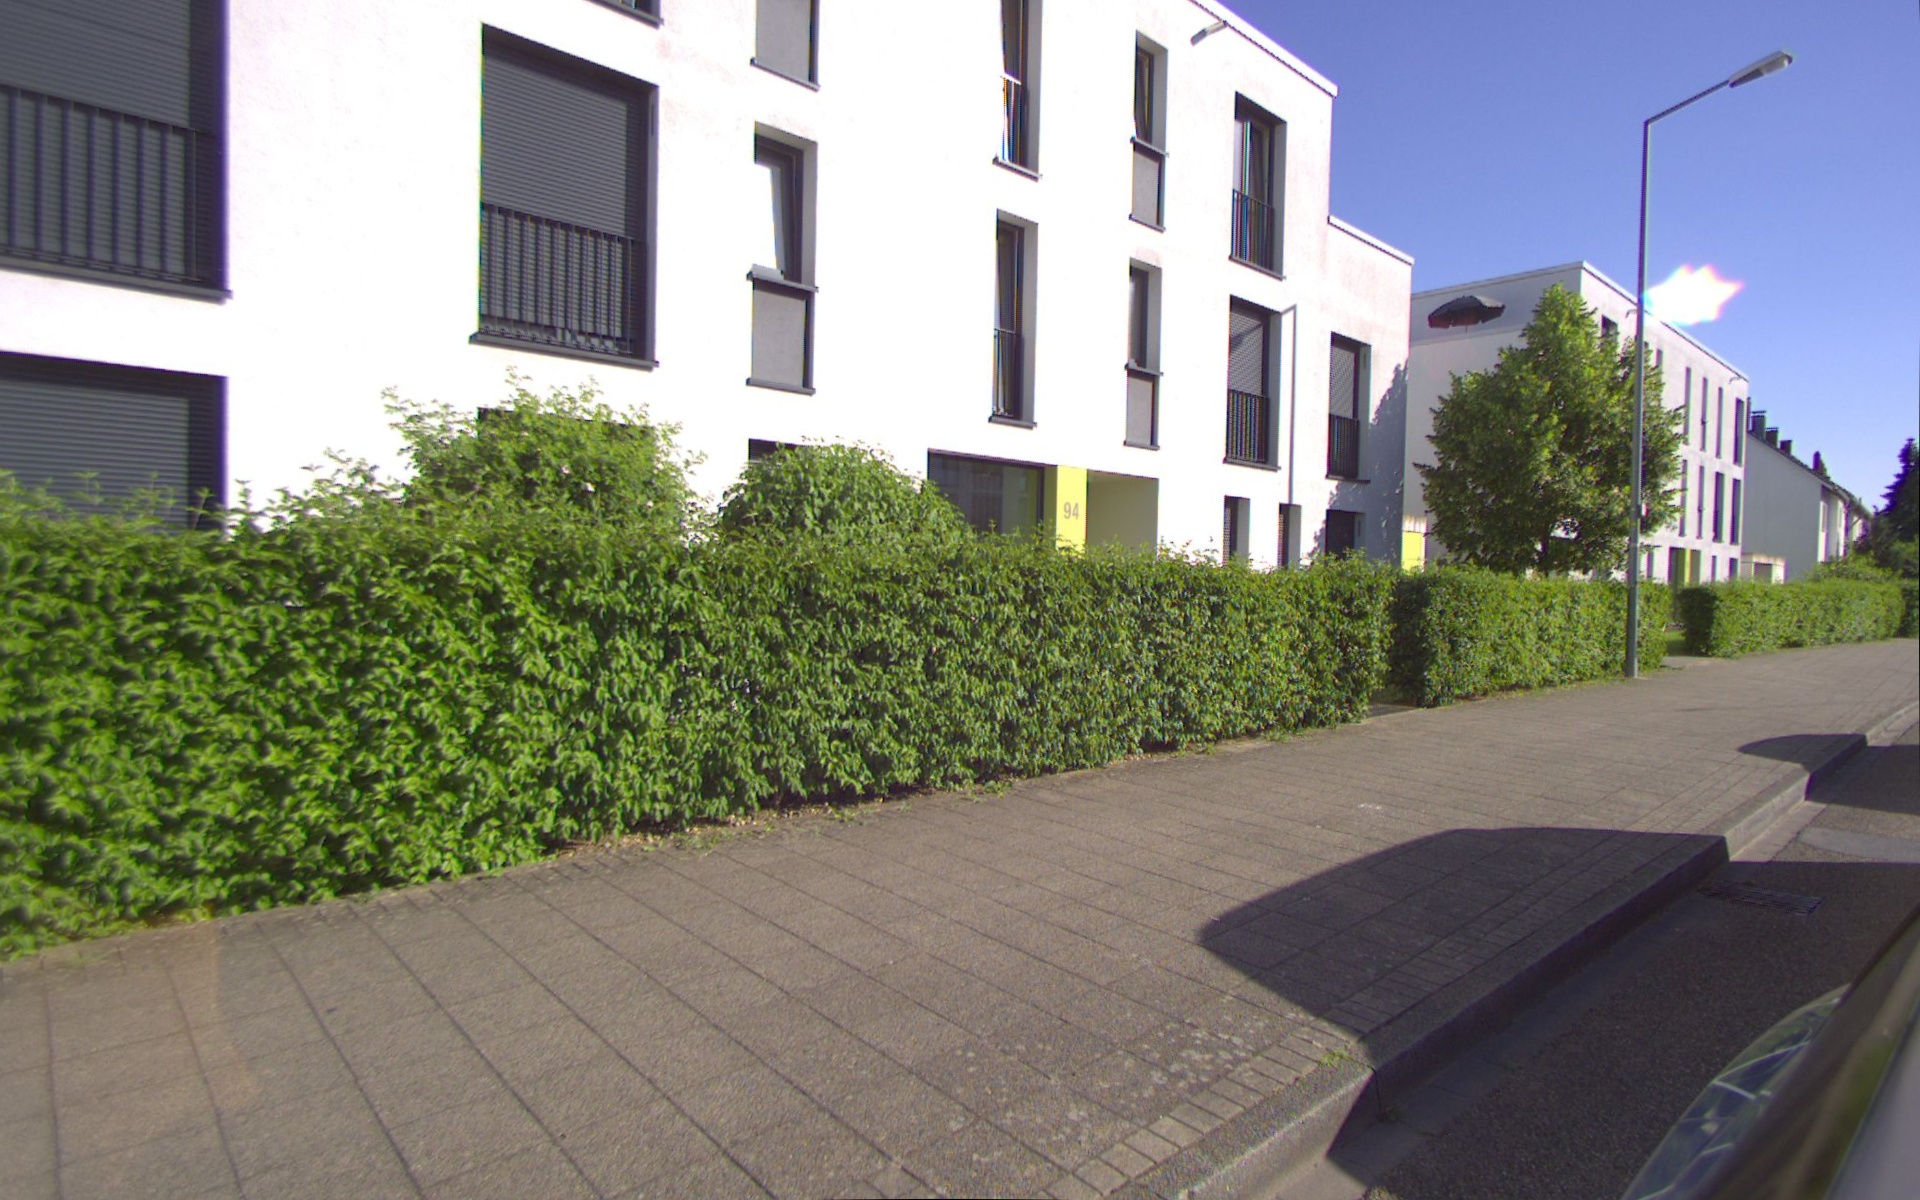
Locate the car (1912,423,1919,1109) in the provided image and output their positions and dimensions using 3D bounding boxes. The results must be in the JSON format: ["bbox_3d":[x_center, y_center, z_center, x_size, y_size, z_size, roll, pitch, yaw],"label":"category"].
[{"bbox_3d":[5.310,0.467,3.791,5.113,1.958,1.978,0,0,-40],"label":"car"}]
